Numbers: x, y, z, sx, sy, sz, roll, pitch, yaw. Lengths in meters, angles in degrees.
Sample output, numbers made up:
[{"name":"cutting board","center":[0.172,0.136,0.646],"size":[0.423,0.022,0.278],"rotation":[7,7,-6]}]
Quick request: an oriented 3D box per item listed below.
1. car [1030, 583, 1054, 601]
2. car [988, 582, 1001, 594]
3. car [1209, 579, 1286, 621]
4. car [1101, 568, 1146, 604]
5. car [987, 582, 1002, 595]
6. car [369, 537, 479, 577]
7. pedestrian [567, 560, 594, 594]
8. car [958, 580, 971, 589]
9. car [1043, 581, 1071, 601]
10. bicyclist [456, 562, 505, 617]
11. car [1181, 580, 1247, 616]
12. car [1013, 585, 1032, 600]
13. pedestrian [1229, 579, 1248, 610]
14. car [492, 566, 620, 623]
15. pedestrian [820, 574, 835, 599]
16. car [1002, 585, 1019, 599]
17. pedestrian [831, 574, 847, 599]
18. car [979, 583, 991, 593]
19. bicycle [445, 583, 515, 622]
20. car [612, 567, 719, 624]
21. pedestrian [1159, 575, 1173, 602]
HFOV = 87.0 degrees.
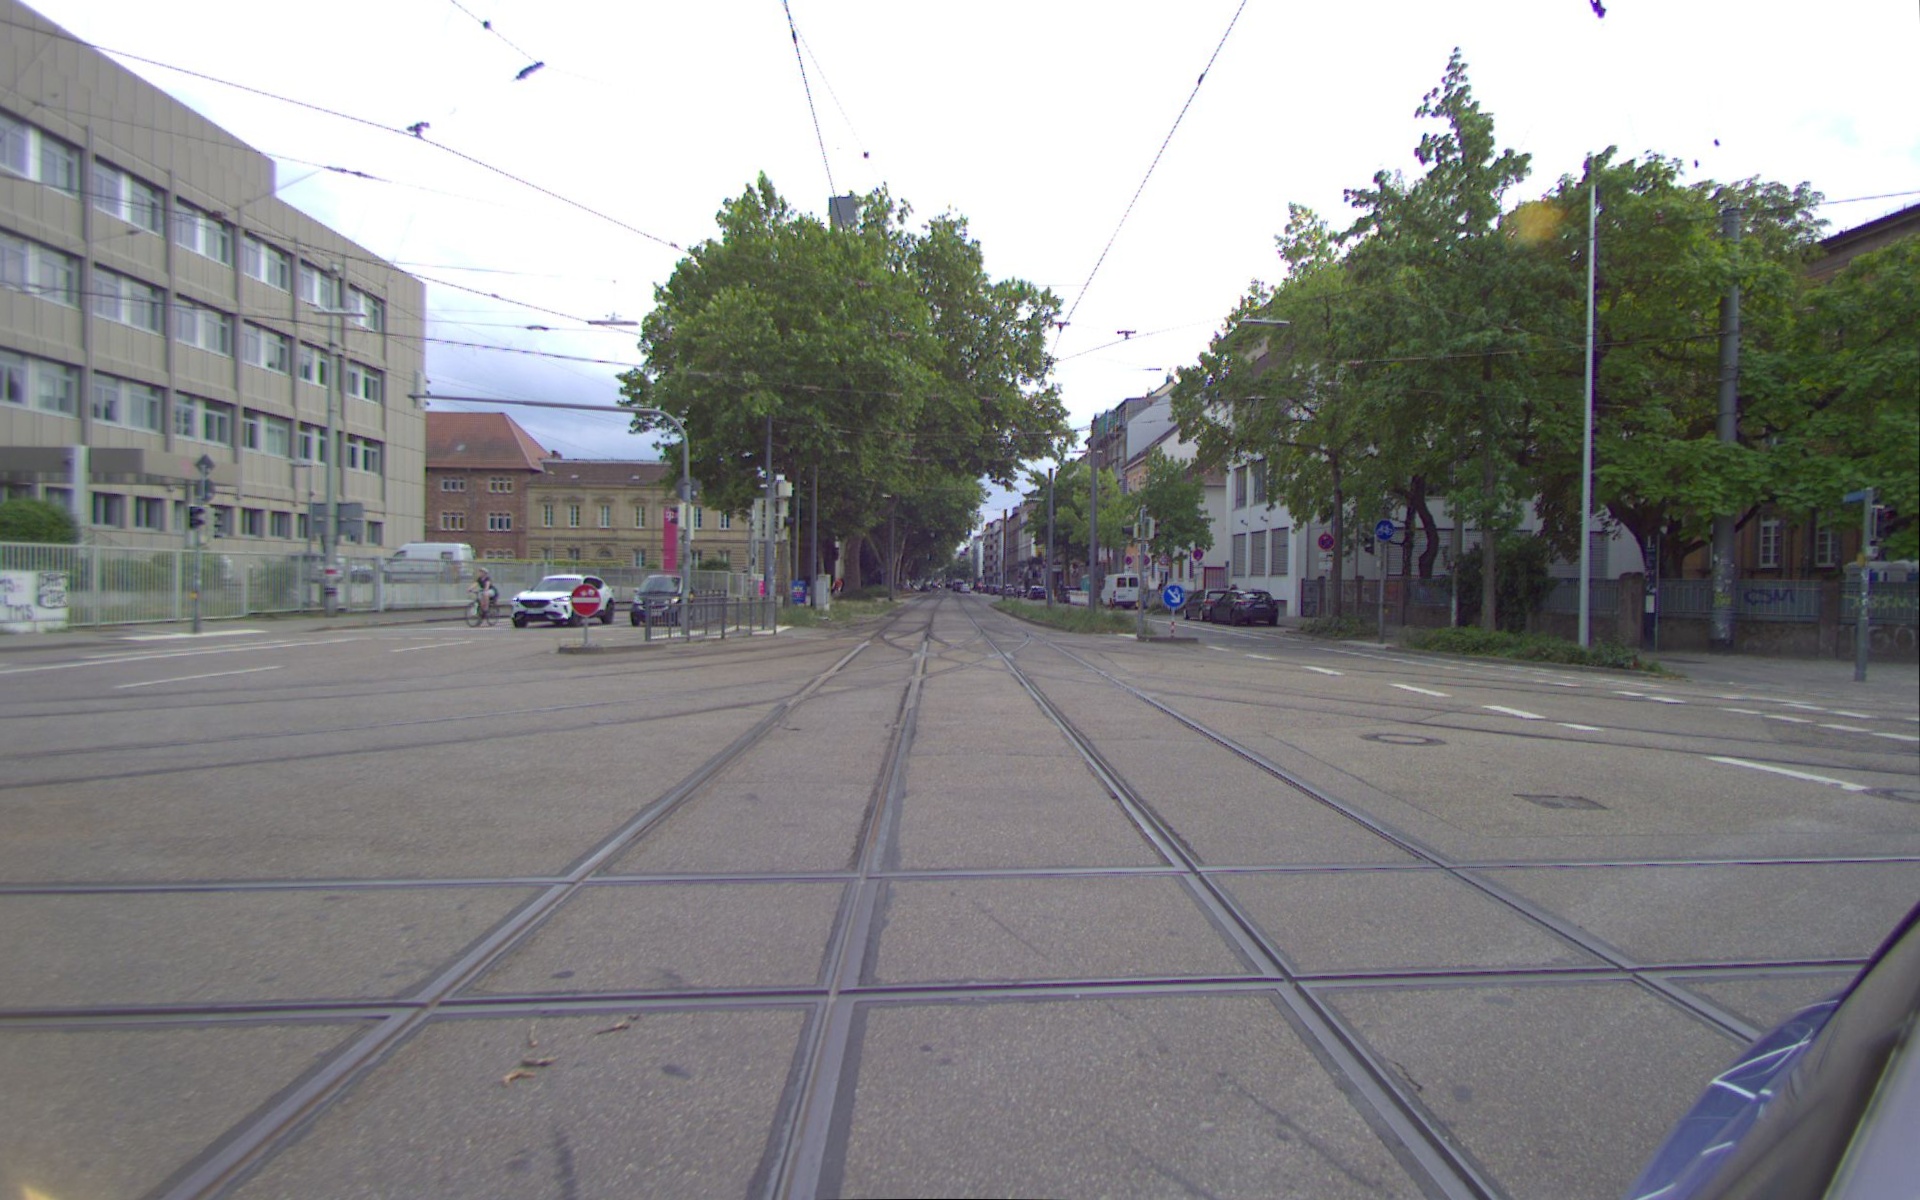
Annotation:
[{"name":"car","center":[8.840,-0.839,109.546],"size":[2.057,1.830,4.423],"rotation":[1,1,-2]},{"name":"car","center":[5.828,-2.053,170.847],"size":[2.058,1.889,4.422],"rotation":[1,1,-1]},{"name":"car","center":[11.666,-0.050,41.369],"size":[1.703,1.580,4.423],"rotation":[1,1,-2]},{"name":"car","center":[10.658,-0.934,66.427],"size":[2.057,2.217,4.423],"rotation":[1,1,-2]},{"name":"car","center":[5.426,-1.812,157.988],"size":[2.057,1.889,4.422],"rotation":[1,1,-1]},{"name":"car","center":[-34.661,-2.776,65.600],"size":[5.783,2.429,2.571],"rotation":[1,1,-4]},{"name":"pedestrian","center":[-18.346,-1.113,48.919],"size":[0.868,1.589,0.979],"rotation":[1,1,5]},{"name":"car","center":[0.701,-2.574,172.882],"size":[1.810,1.510,3.751],"rotation":[0,0,-5]},{"name":"car","center":[9.459,-0.911,98.888],"size":[2.057,1.830,4.423],"rotation":[1,1,-2]},{"name":"bicyclist","center":[-14.282,-0.321,30.176],"size":[0.788,1.569,1.328],"rotation":[1,1,2]},{"name":"car","center":[11.562,-0.134,46.283],"size":[1.726,1.555,4.423],"rotation":[1,1,-2]},{"name":"car","center":[8.267,-1.045,133.715],"size":[2.057,1.830,4.423],"rotation":[1,1,-2]},{"name":"pedestrian","center":[14.903,-0.304,54.160],"size":[0.754,1.671,0.766],"rotation":[1,1,0]},{"name":"car","center":[-11.770,-0.202,29.824],"size":[1.962,1.523,4.421],"rotation":[1,1,0]},{"name":"pedestrian","center":[-9.963,-1.005,76.017],"size":[0.822,1.888,1.173],"rotation":[1,1,8]},{"name":"car","center":[7.304,-1.181,145.636],"size":[2.057,1.830,4.423],"rotation":[1,1,-2]},{"name":"pedestrian","center":[-9.044,-1.015,75.699],"size":[0.822,1.888,1.249],"rotation":[1,1,8]},{"name":"car","center":[4.814,-2.407,197.230],"size":[2.057,1.889,4.423],"rotation":[1,1,-2]},{"name":"bicycle","center":[-14.293,0.052,30.225],"size":[0.788,1.100,2.561],"rotation":[1,1,2]},{"name":"car","center":[-8.958,-0.188,31.135],"size":[1.803,1.586,4.418],"rotation":[1,1,3]},{"name":"pedestrian","center":[13.932,-0.793,68.472],"size":[0.754,1.803,0.766],"rotation":[1,1,-1]}]
